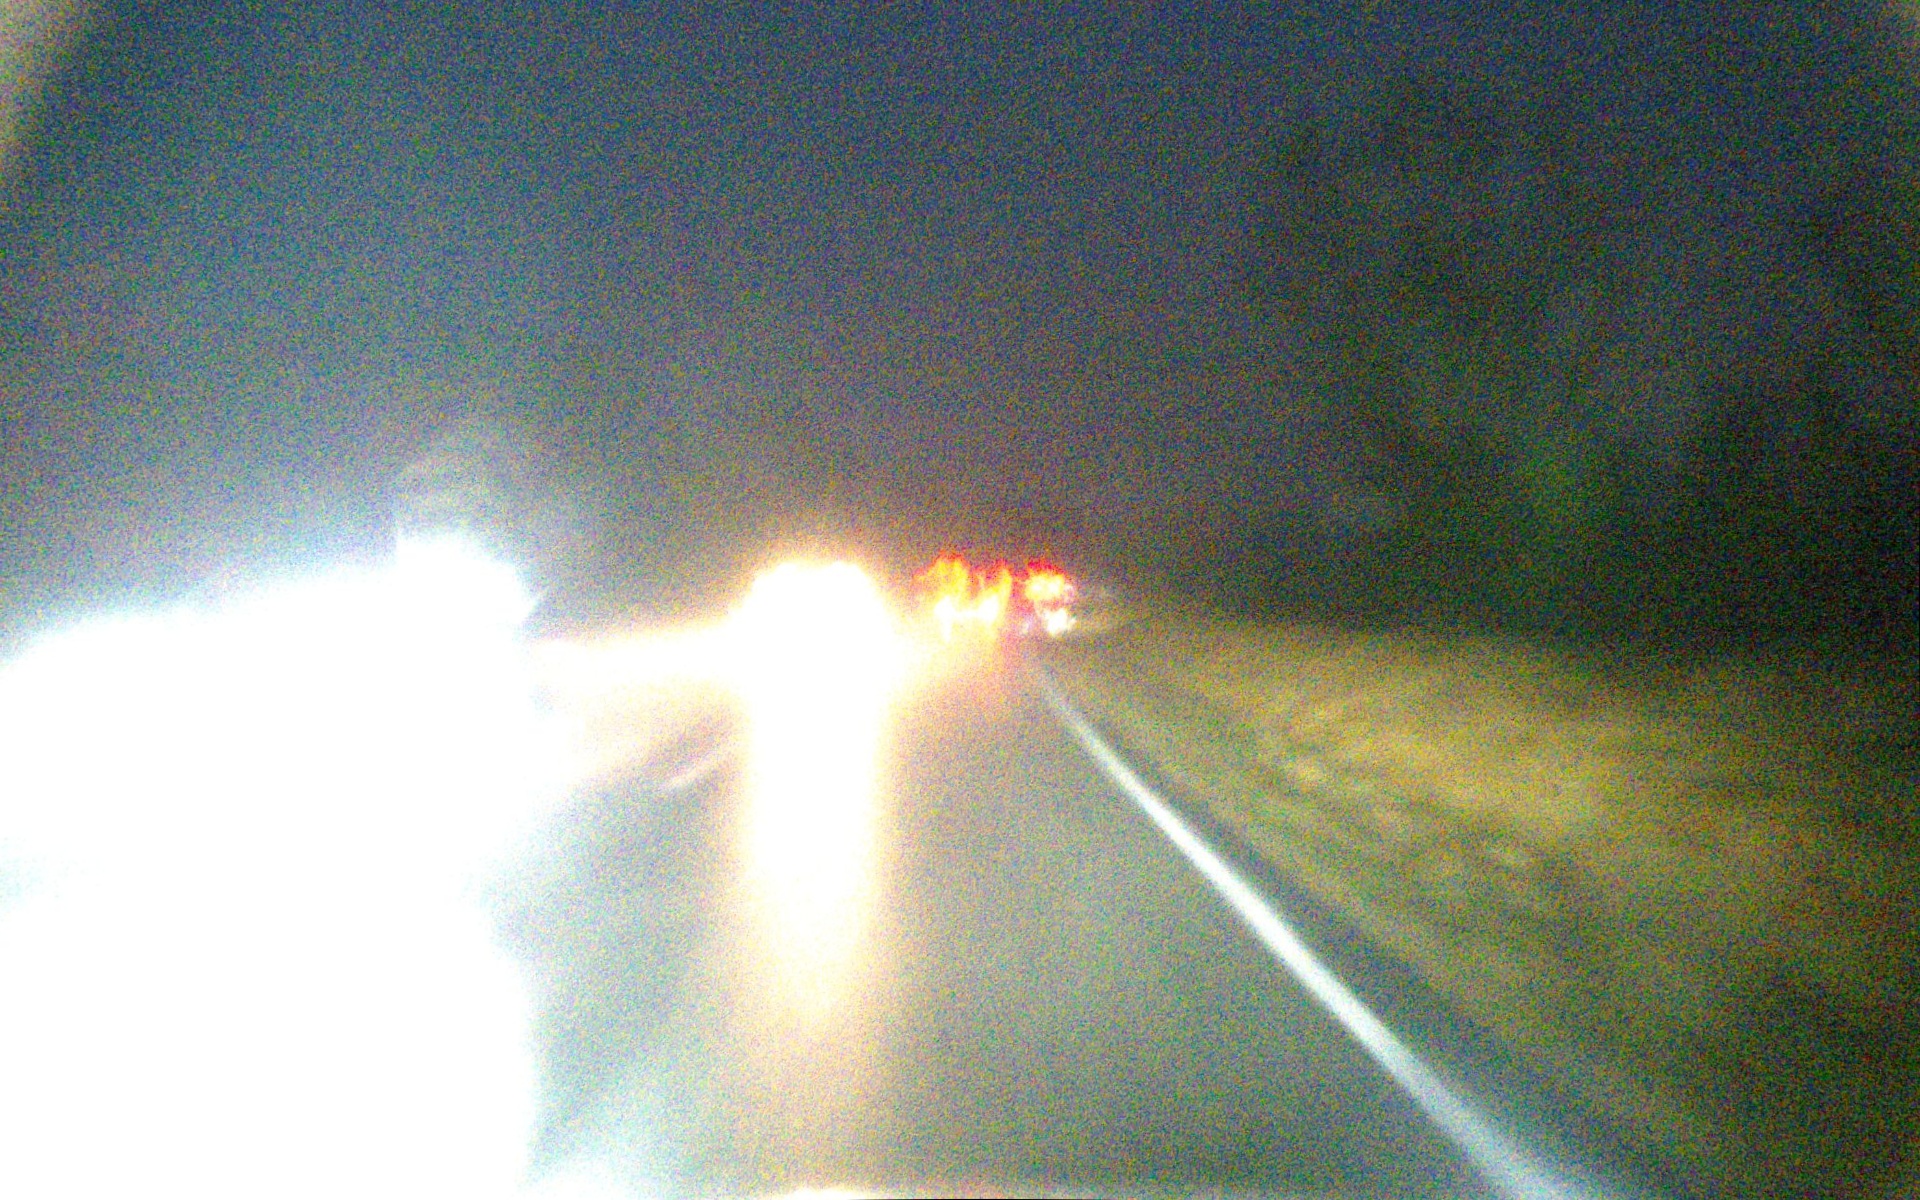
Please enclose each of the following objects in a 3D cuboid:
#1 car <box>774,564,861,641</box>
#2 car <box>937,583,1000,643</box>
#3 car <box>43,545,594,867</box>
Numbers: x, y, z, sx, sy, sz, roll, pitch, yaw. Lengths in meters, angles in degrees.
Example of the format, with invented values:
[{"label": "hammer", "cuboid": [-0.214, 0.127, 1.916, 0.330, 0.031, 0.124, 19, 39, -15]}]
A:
[{"label": "car", "cuboid": [-4.001, 0.052, 47.138, 1.952, 2.049, 4.276, -1, 0, 1]}, {"label": "car", "cuboid": [0.298, 0.372, 51.673, 1.804, 1.771, 4.002, 0, 1, 3]}, {"label": "car", "cuboid": [-3.760, 0.544, 10.562, 1.953, 1.652, 4.000, 0, 0, 0]}]
